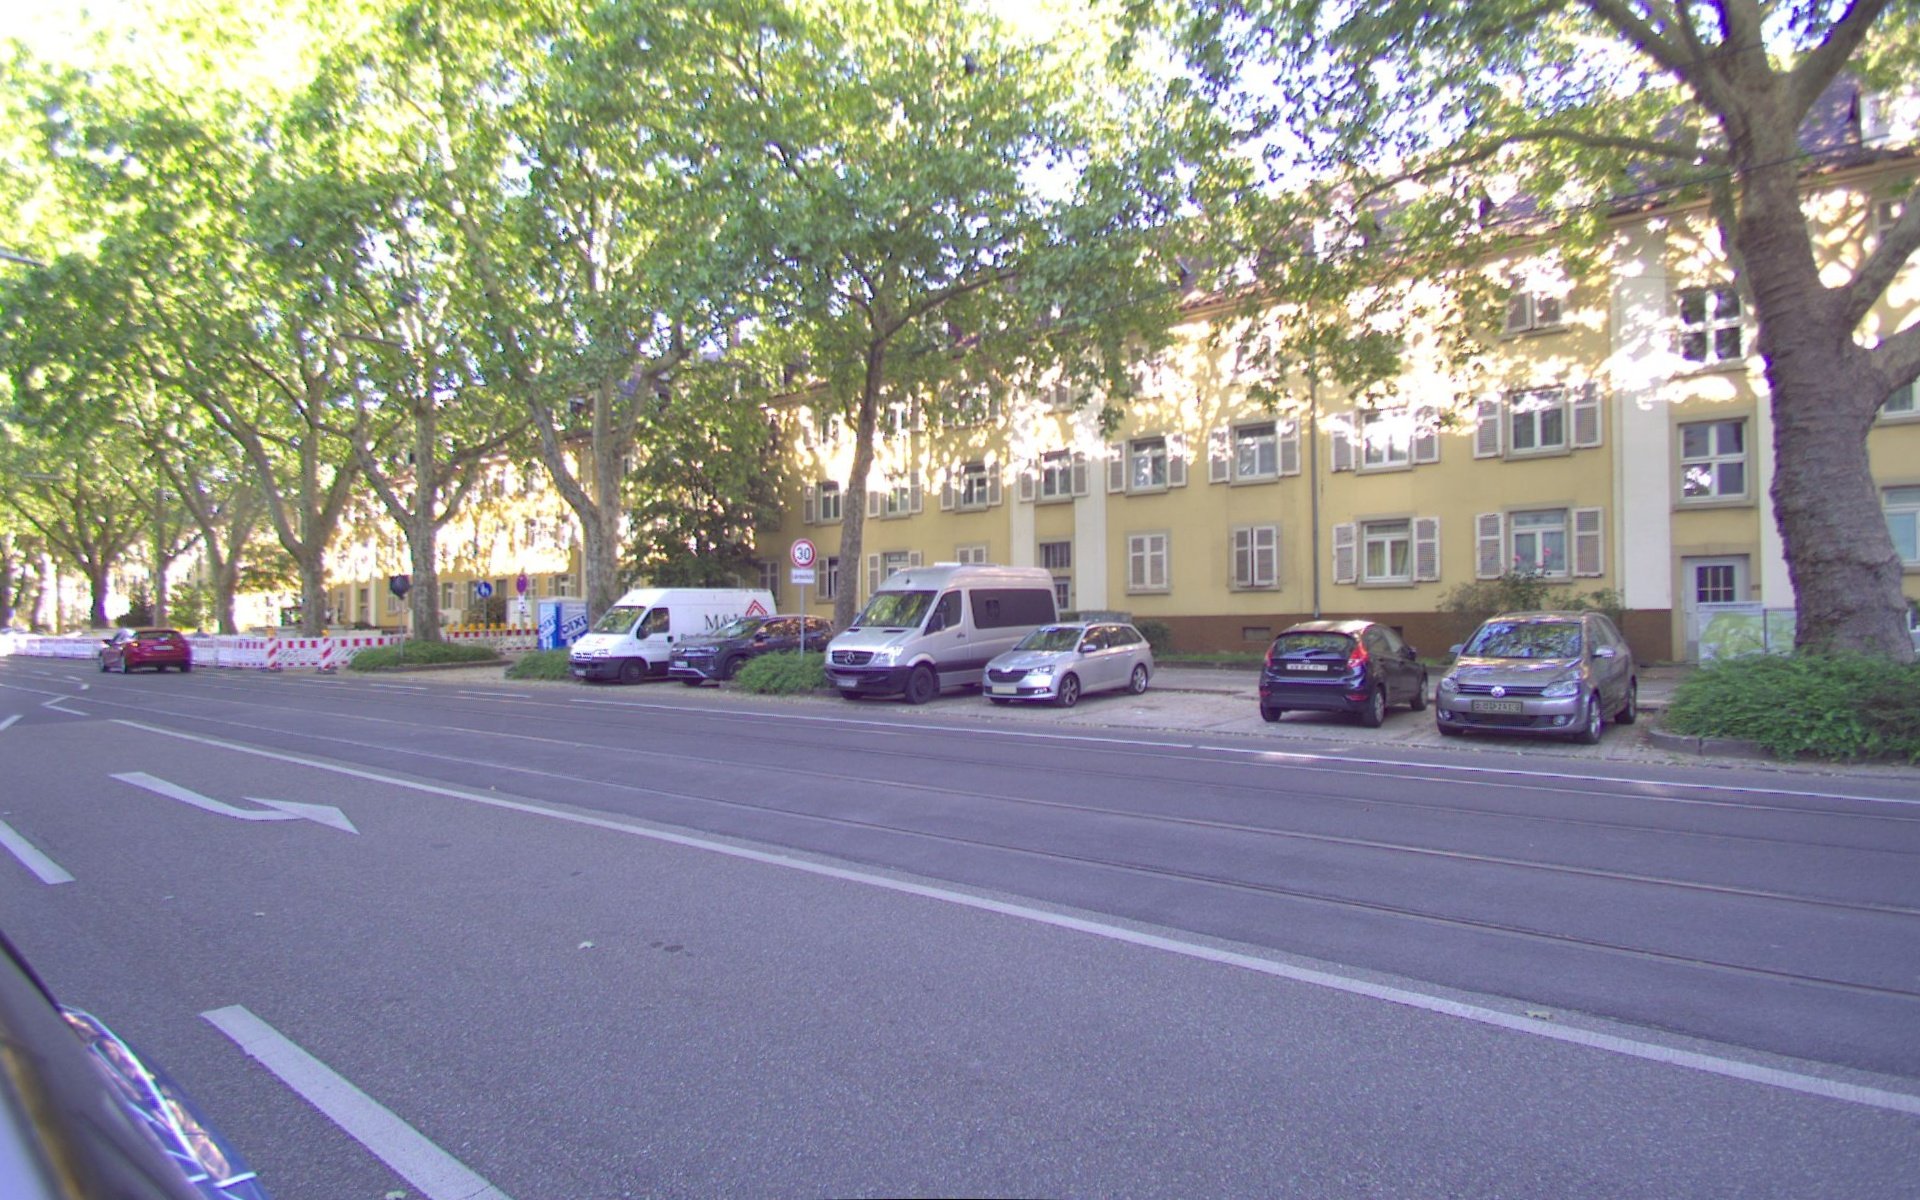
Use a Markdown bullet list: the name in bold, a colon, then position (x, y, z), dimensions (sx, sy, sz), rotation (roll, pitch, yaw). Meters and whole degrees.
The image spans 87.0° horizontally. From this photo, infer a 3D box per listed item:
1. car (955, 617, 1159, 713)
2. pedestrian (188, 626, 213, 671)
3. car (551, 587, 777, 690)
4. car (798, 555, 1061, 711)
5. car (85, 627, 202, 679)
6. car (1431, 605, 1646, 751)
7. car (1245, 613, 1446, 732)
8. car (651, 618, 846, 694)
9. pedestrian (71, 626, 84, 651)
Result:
- **car**: position (1.906, 1.121, 18.838), dimensions (1.773, 1.509, 4.031), rotation (-2, -1, 41)
- **pedestrian**: position (-30.635, 1.935, 40.812), dimensions (0.582, 1.759, 0.644), rotation (-1, 0, 37)
- **car**: position (-7.568, 0.964, 26.376), dimensions (2.222, 2.394, 5.336), rotation (-2, -2, 40)
- **car**: position (-0.433, 0.609, 20.449), dimensions (2.221, 2.702, 5.596), rotation (-2, -1, 38)
- **car**: position (-26.920, 1.700, 33.336), dimensions (4.484, 1.577, 1.997), rotation (-2, -2, 37)
- **car**: position (7.737, 0.899, 13.369), dimensions (1.672, 1.592, 3.928), rotation (-2, -1, 41)
- **car**: position (5.960, 1.001, 15.421), dimensions (1.671, 1.509, 3.756), rotation (-2, -1, 41)
- **car**: position (-4.985, 1.276, 24.450), dimensions (1.772, 1.664, 4.570), rotation (-2, -2, 38)
- **pedestrian**: position (-66.460, 2.883, 76.174), dimensions (0.722, 1.900, 0.666), rotation (-1, 0, -42)
